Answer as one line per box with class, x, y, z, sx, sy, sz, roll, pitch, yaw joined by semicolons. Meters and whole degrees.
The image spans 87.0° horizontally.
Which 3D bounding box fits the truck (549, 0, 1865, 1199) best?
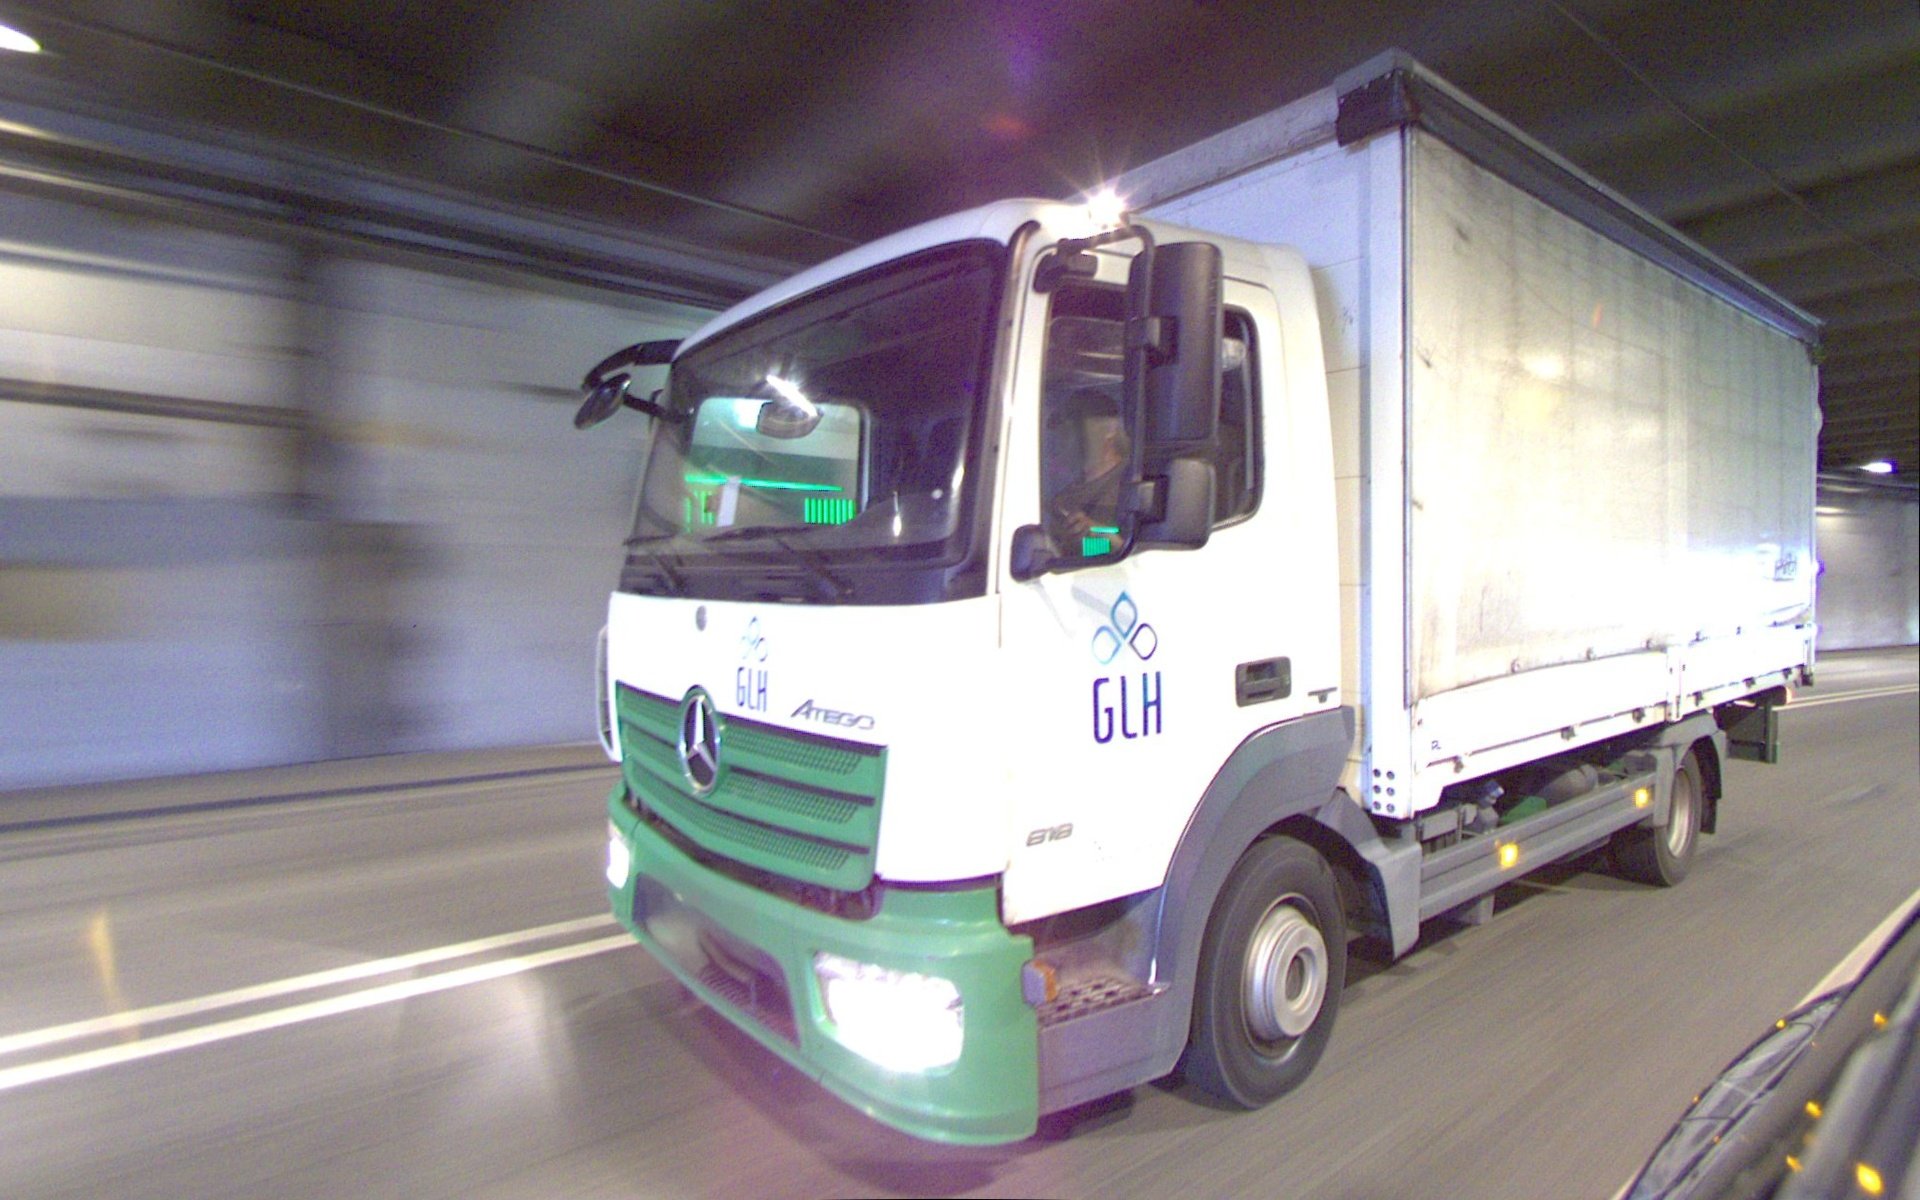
truck;2.098;-0.288;5.094;7.284;3.280;2.634;-1;0;-40
